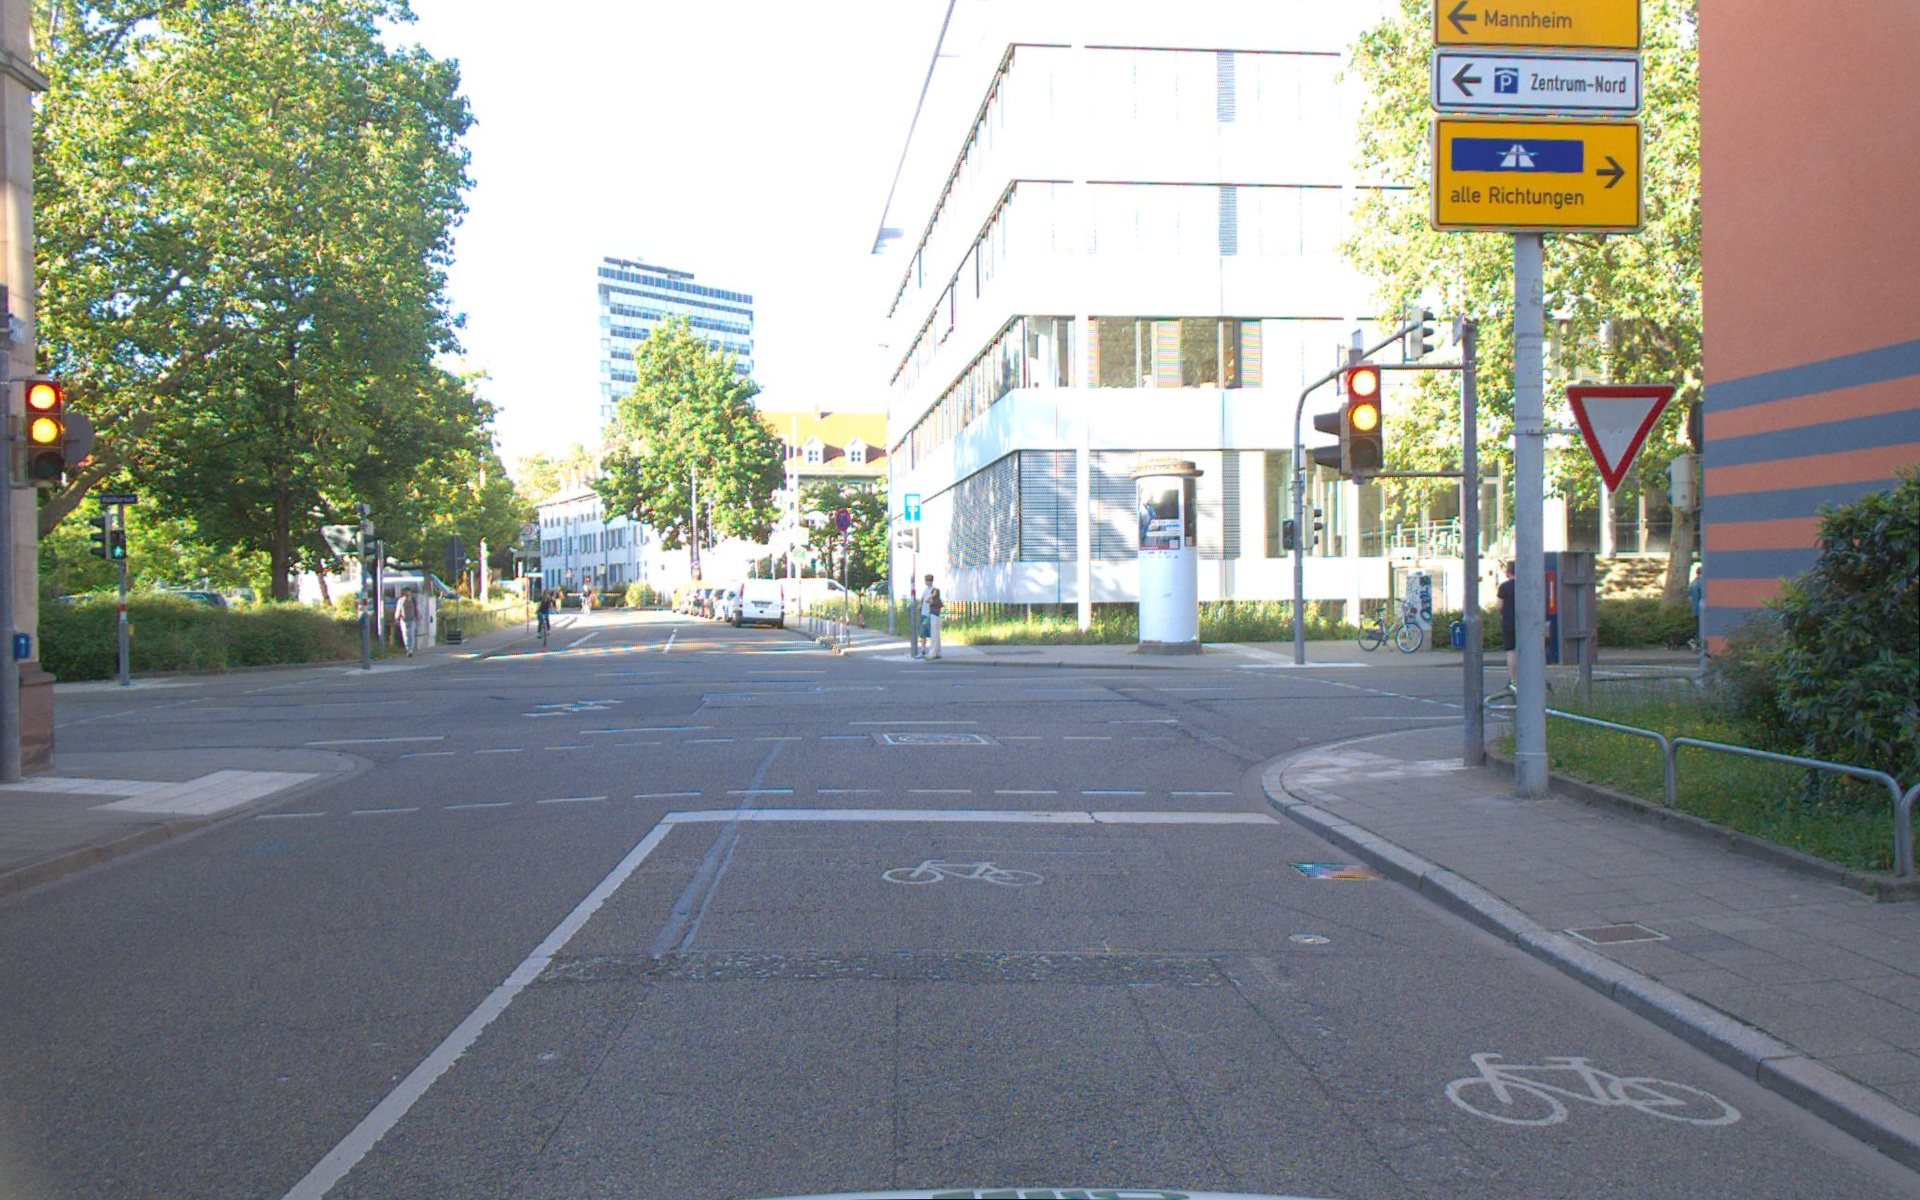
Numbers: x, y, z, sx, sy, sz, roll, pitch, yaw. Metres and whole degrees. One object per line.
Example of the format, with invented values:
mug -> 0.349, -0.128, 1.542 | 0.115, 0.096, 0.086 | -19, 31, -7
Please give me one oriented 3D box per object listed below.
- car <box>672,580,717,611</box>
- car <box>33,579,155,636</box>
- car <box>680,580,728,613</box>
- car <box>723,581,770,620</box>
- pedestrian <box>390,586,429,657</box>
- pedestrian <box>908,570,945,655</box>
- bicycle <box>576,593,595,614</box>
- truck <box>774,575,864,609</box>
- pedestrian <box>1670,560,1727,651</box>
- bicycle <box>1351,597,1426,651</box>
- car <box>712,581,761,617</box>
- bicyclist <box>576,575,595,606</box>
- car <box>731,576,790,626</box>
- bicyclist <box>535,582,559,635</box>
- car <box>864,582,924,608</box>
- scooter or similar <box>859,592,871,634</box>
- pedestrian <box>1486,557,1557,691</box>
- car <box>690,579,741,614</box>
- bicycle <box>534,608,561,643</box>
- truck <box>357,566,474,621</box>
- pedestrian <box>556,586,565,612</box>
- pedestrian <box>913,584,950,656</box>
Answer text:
car -> -15.327, -0.302, 95.232 | 1.860, 1.684, 4.391 | 0, 1, -19
car -> -39.961, 0.352, 76.413 | 4.472, 2.433, 2.069 | -2, 0, -10
car -> -13.982, -0.202, 90.258 | 1.860, 1.684, 4.391 | 0, 1, -19
car -> -9.427, -0.001, 72.763 | 1.854, 1.582, 4.404 | 0, 1, -10
pedestrian -> -13.803, 0.529, 41.472 | 0.689, 1.753, 0.953 | -2, 0, -7
pedestrian -> -0.755, 0.277, 37.752 | 0.547, 1.882, 0.678 | -3, 1, 15
bicycle -> -19.618, 0.190, 86.745 | 0.850, 1.027, 2.407 | -3, 0, -11
truck -> -8.755, -0.522, 102.889 | 5.258, 2.049, 1.989 | -1, 0, -20
pedestrian -> 15.475, 0.109, 34.669 | 0.819, 1.872, 0.707 | 1, 0, -11
bicycle -> 9.353, 0.510, 36.130 | 0.503, 1.067, 1.667 | -3, 4, -35
car -> -10.593, -0.073, 78.117 | 1.856, 1.582, 4.400 | 0, 1, -14
bicyclist -> -19.649, -0.495, 86.758 | 0.850, 1.541, 1.016 | -3, 0, -12
car -> -7.835, 0.011, 64.575 | 2.047, 1.827, 4.404 | 0, 1, -10
bicyclist -> -12.273, 0.254, 49.177 | 0.604, 1.559, 0.901 | -1, 0, -9
car -> -4.140, -0.305, 104.143 | 3.502, 1.573, 1.549 | -1, 0, -20
scooter or similar -> -3.354, 0.459, 58.474 | 0.324, 1.449, 1.333 | 1, 0, -6
pedestrian -> 8.013, 0.335, 23.641 | 0.692, 1.872, 0.837 | 1, 0, -1
car -> -12.656, -0.194, 85.335 | 1.860, 1.684, 4.391 | 0, 1, -19
bicycle -> -12.264, 0.758, 49.165 | 0.604, 0.986, 1.837 | -1, 1, -9
truck -> -24.549, -0.304, 74.726 | 4.741, 2.441, 2.082 | 0, 1, -11
pedestrian -> -24.531, -0.056, 101.650 | 0.428, 1.636, 0.488 | -1, 0, -27
pedestrian -> -0.641, 0.443, 37.148 | 0.551, 1.567, 0.673 | -4, 1, -19
